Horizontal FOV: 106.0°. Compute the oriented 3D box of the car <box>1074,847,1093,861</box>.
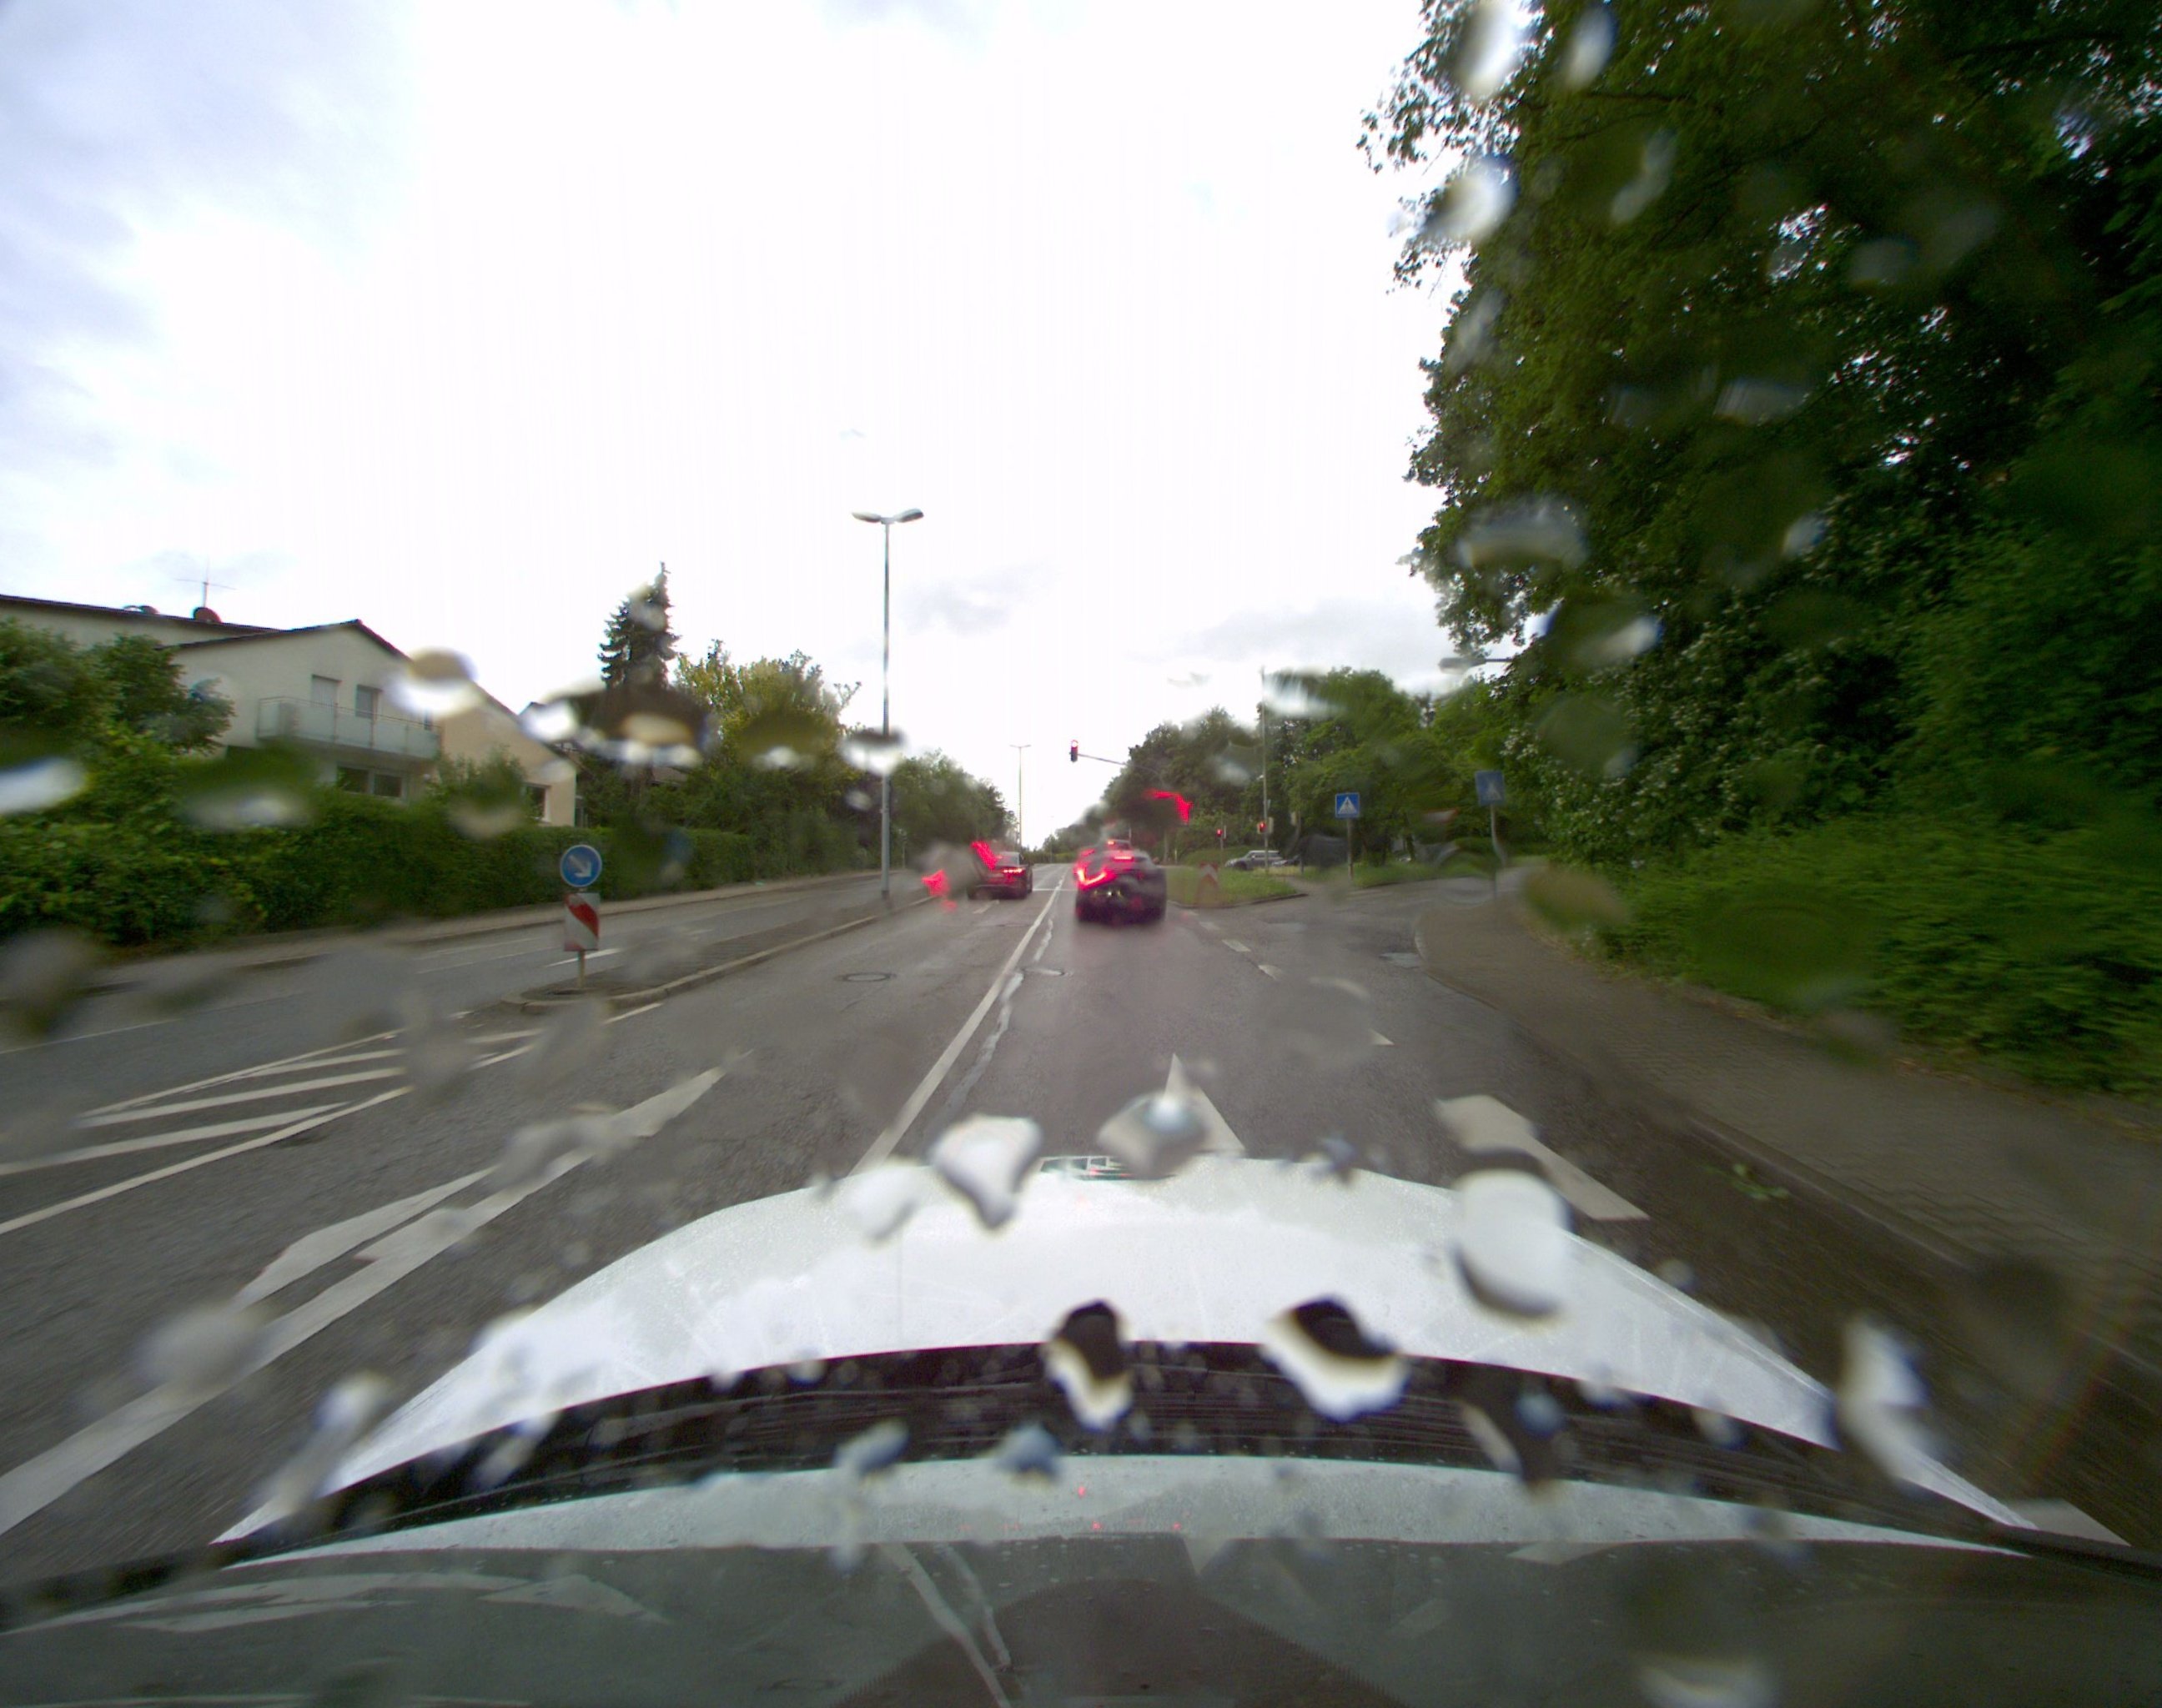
[{"bbox_3d":[0.307,0.002,95.596,1.986,1.624,3.953,-2,0,1],"label":"car"}]

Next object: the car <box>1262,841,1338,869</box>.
[{"bbox_3d":[13.208,0.083,49.280,3.982,1.509,1.897,-2,-2,-6],"label":"car"}]

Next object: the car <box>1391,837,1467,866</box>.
[{"bbox_3d":[21.746,-0.157,50.958,4.017,1.602,1.743,-2,0,-9],"label":"car"}]

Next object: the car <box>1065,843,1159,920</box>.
[{"bbox_3d":[0.806,0.578,18.780,1.889,1.551,4.620,0,-1,4],"label":"car"}]

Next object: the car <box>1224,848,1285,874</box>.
[{"bbox_3d":[11.189,0.439,52.635,3.493,1.427,1.701,-3,-2,-2],"label":"car"}]

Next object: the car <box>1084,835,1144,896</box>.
[{"bbox_3d":[1.065,0.345,26.978,1.811,1.868,3.953,0,0,1],"label":"car"}]

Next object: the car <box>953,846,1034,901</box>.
[{"bbox_3d":[-2.708,0.581,26.233,1.986,1.527,4.329,-2,0,1],"label":"car"}]

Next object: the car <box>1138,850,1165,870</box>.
[{"bbox_3d":[5.670,0.467,66.019,1.866,1.542,3.953,-2,0,1],"label":"car"}]
